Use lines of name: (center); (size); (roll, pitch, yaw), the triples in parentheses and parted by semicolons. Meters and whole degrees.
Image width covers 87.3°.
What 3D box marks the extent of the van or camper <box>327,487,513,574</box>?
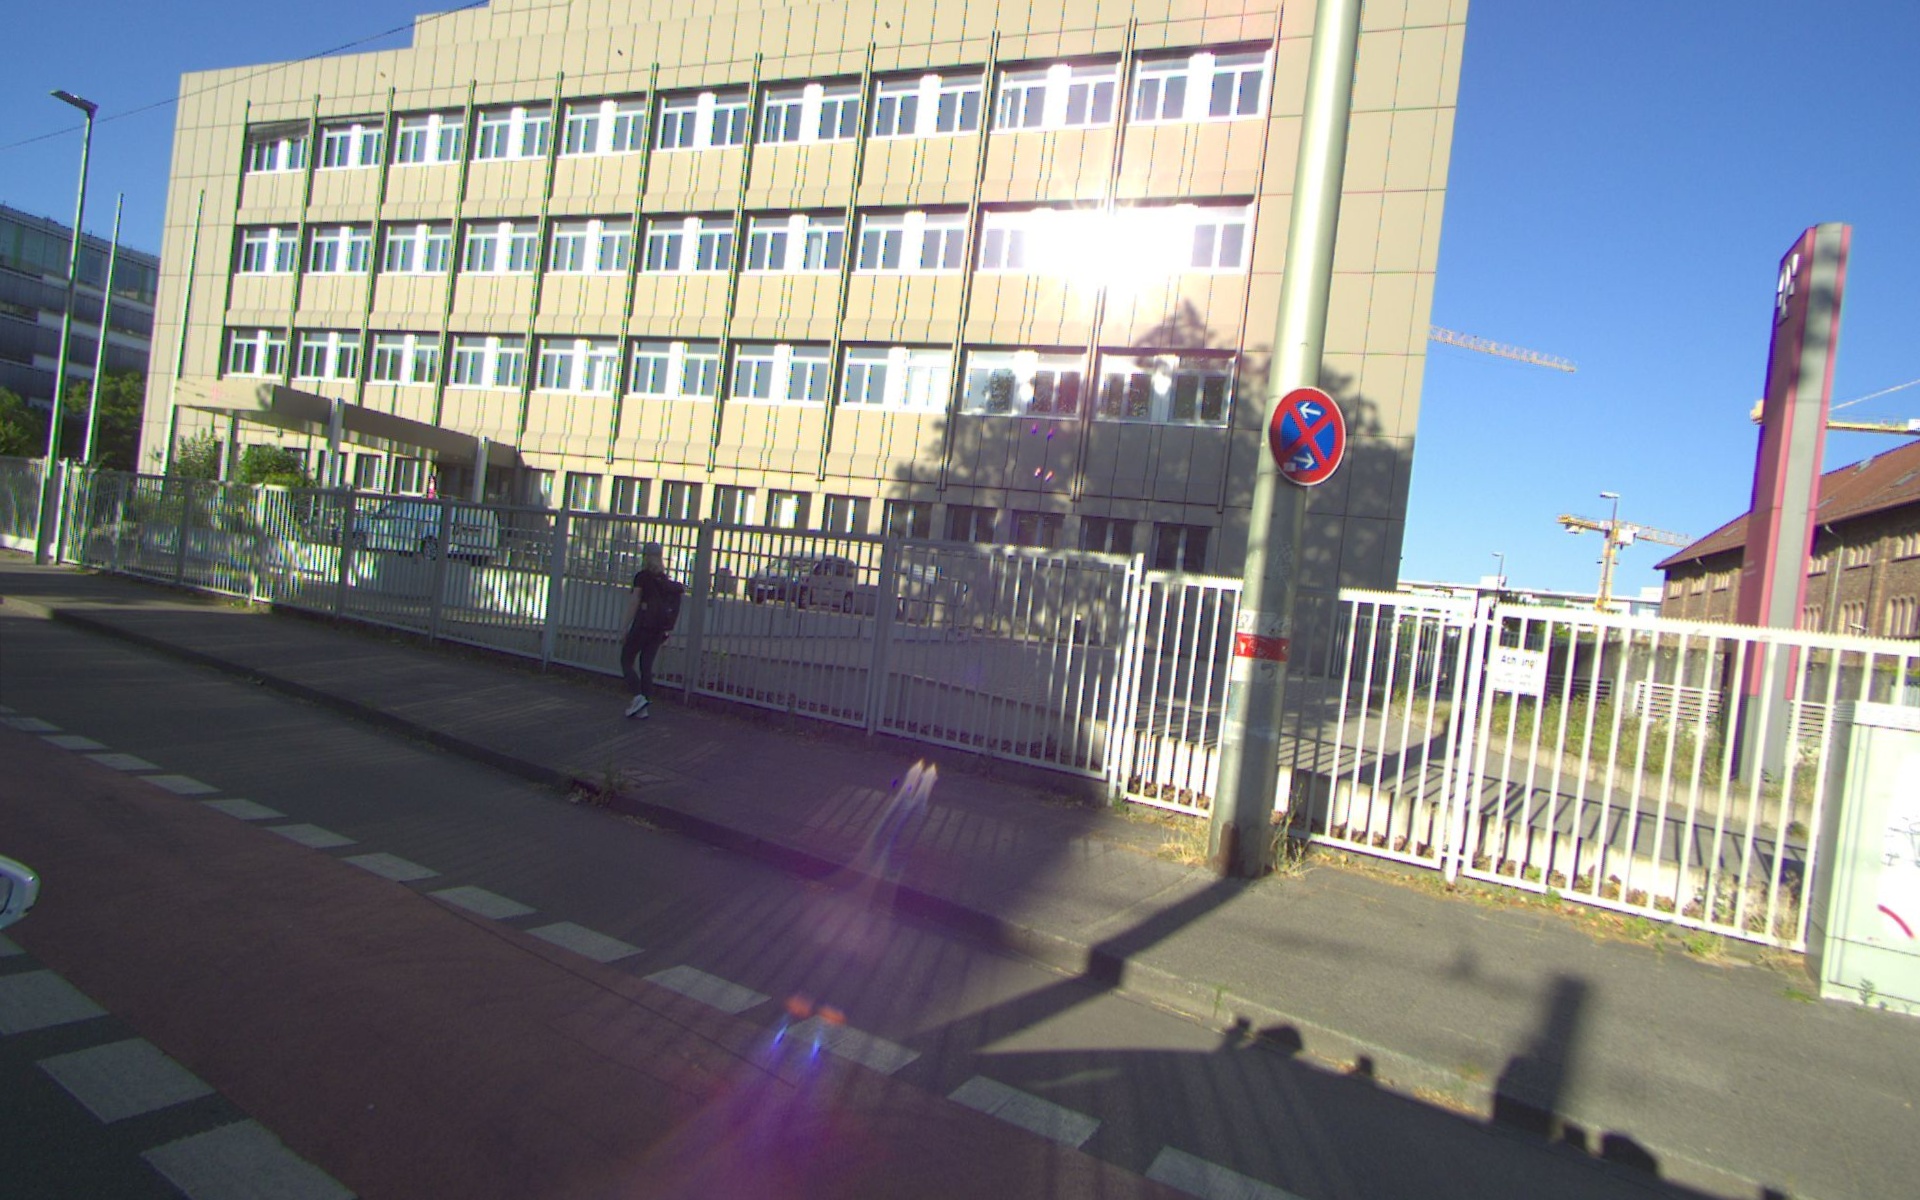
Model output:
van or camper: (-15.950, -2.050, 29.714); (4.907, 1.933, 1.986); (7, 1, 20)

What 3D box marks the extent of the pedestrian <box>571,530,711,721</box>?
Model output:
pedestrian: (-3.075, 0.242, 9.715); (0.915, 1.705, 0.696); (7, 1, 32)

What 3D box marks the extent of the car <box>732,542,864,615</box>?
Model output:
car: (-4.851, -0.607, 30.764); (1.957, 1.739, 4.265); (7, 0, 21)
